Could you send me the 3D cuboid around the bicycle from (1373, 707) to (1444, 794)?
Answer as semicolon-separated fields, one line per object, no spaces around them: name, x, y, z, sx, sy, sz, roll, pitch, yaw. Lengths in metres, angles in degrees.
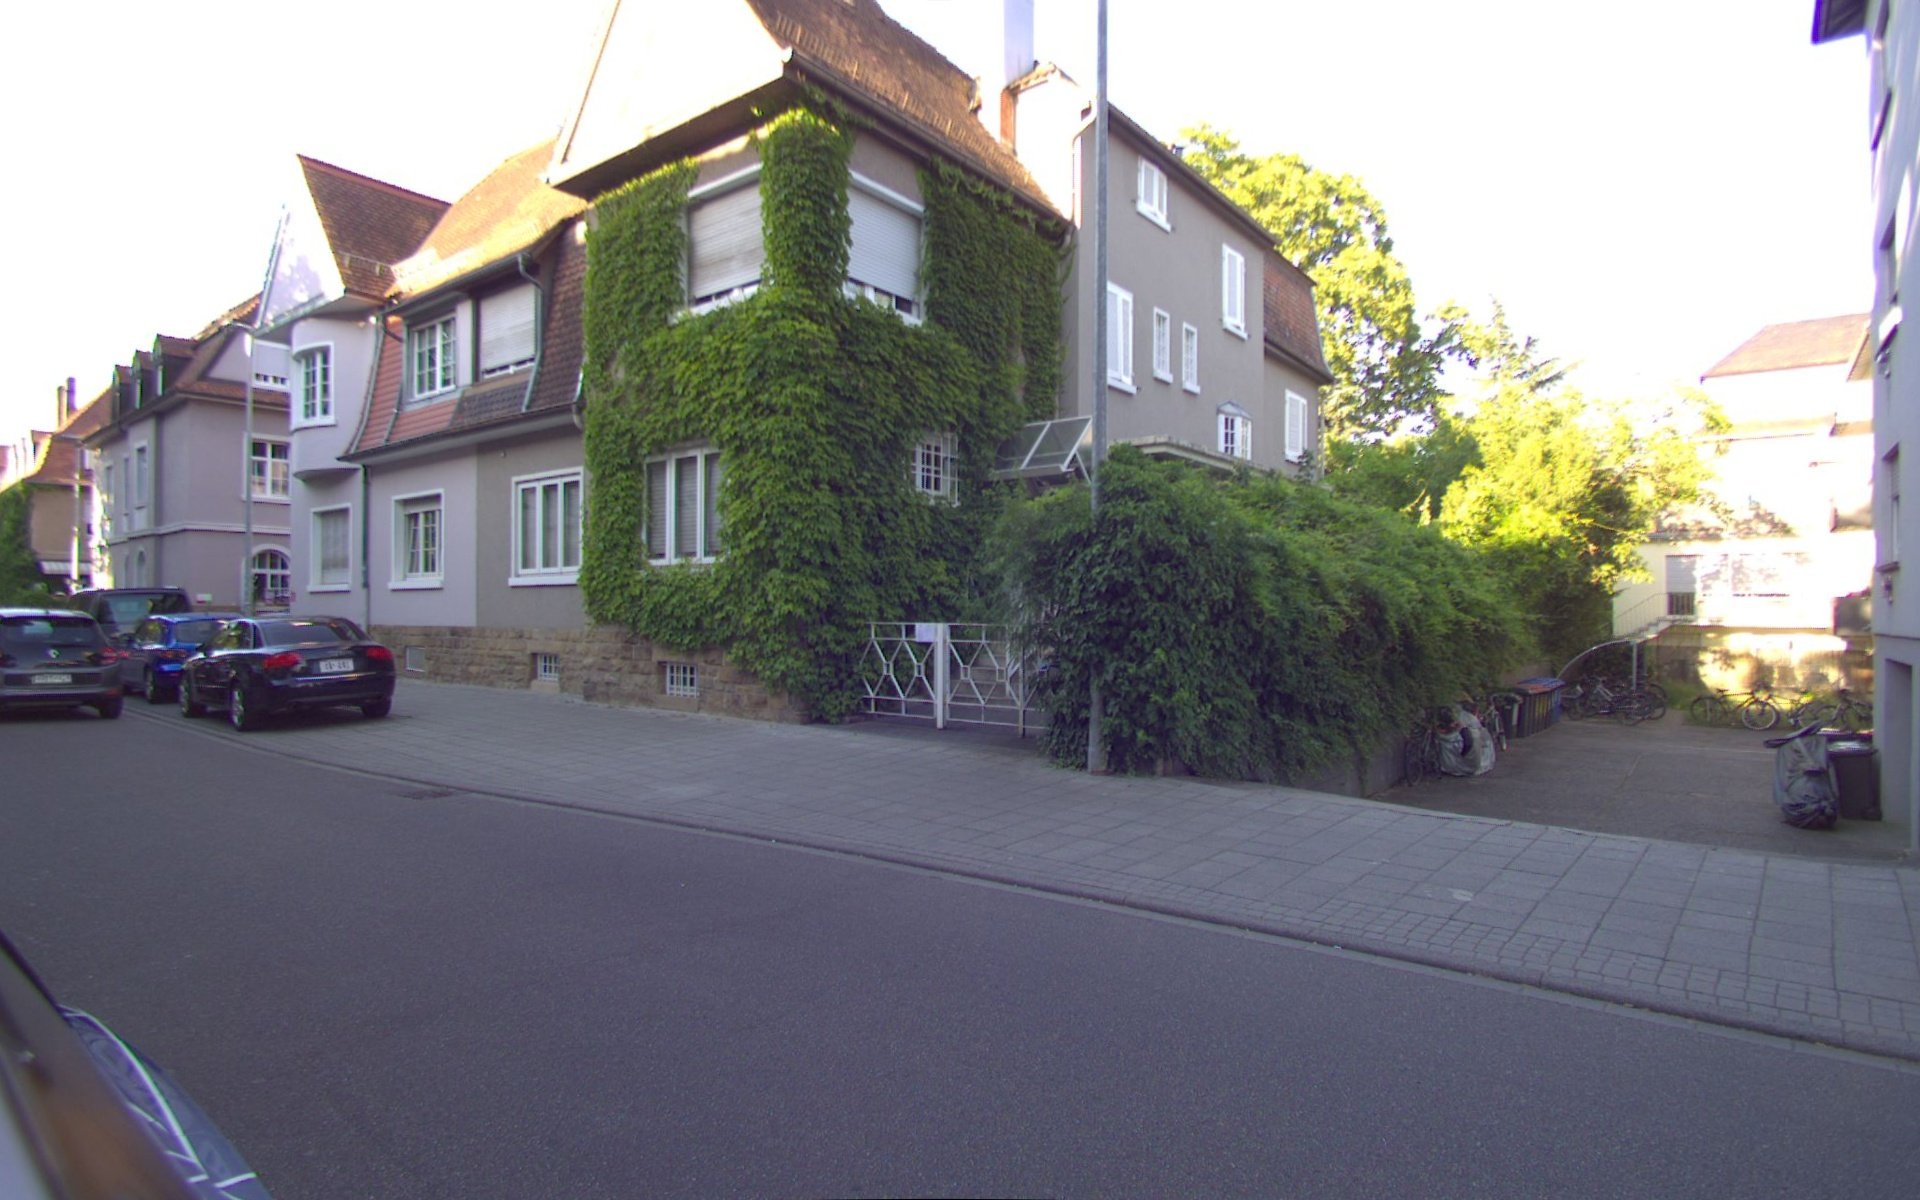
bicycle;6.751;2.220;15.184;0.514;1.027;1.914;1;0;38

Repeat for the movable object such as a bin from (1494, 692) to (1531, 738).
movable object such as a bin;11.532;2.389;21.114;0.576;0.886;0.488;0;-3;41

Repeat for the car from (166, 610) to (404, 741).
car;-9.352;0.910;13.903;4.023;1.439;1.729;0;2;42

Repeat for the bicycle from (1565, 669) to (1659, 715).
bicycle;17.688;2.486;27.491;2.068;1.028;0.608;1;3;41

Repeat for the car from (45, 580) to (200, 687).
car;-17.546;0.626;21.132;4.308;1.987;1.698;0;2;40

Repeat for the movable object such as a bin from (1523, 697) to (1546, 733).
movable object such as a bin;12.759;2.550;22.482;0.381;0.779;0.359;-1;-4;41

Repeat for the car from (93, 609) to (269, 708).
car;-13.733;0.937;17.764;4.021;1.475;1.591;0;2;40

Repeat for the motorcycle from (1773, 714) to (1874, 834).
motorcycle;10.729;2.118;12.632;0.757;1.261;1.575;-1;-3;34

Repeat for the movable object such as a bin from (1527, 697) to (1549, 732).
movable object such as a bin;13.011;2.575;22.784;0.375;0.764;0.359;-1;-4;41

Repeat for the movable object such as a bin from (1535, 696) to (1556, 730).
movable object such as a bin;13.525;2.606;23.374;0.367;0.764;0.359;-1;-4;41

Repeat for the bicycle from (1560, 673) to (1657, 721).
bicycle;16.827;2.498;26.289;2.068;1.028;0.565;1;3;41

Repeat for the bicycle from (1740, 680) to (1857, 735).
bicycle;19.573;2.497;23.665;2.068;1.028;0.634;1;3;41

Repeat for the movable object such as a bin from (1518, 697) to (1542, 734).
movable object such as a bin;12.490;2.525;22.179;0.398;0.779;0.359;-1;-4;41

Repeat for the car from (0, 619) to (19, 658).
car;-36.586;1.441;37.736;3.942;1.381;1.698;-1;1;40

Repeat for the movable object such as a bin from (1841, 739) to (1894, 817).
movable object such as a bin;11.750;2.288;13.117;0.432;0.894;0.717;-1;-3;37

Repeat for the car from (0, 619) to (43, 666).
car;-30.328;1.324;31.956;3.942;1.381;1.522;-1;1;40

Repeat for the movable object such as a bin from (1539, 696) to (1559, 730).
movable object such as a bin;13.777;2.640;23.683;0.346;0.764;0.359;-1;-4;41

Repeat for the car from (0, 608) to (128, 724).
car;-13.667;0.907;14.734;3.587;1.513;1.600;-1;-3;38

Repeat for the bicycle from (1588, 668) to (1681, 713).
bicycle;18.605;2.474;27.957;2.068;1.028;0.608;1;3;41

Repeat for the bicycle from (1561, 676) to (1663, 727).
bicycle;16.263;2.507;25.277;2.068;1.028;0.634;1;3;41

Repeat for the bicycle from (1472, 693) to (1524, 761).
bicycle;9.946;2.309;18.691;0.514;1.027;1.914;1;0;38

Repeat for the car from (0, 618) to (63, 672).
car;-26.834;1.232;28.524;4.331;1.381;1.698;-1;1;40

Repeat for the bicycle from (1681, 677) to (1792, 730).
bicycle;18.705;2.475;24.412;2.068;1.028;0.634;1;3;41

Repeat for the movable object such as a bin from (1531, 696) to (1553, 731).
movable object such as a bin;13.273;2.591;23.077;0.367;0.764;0.359;-1;-4;41

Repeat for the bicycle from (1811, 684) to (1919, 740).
bicycle;20.542;2.521;22.804;2.068;1.028;0.634;1;3;41

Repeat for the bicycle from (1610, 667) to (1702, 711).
bicycle;19.407;2.463;28.262;2.068;1.028;0.561;1;3;41
